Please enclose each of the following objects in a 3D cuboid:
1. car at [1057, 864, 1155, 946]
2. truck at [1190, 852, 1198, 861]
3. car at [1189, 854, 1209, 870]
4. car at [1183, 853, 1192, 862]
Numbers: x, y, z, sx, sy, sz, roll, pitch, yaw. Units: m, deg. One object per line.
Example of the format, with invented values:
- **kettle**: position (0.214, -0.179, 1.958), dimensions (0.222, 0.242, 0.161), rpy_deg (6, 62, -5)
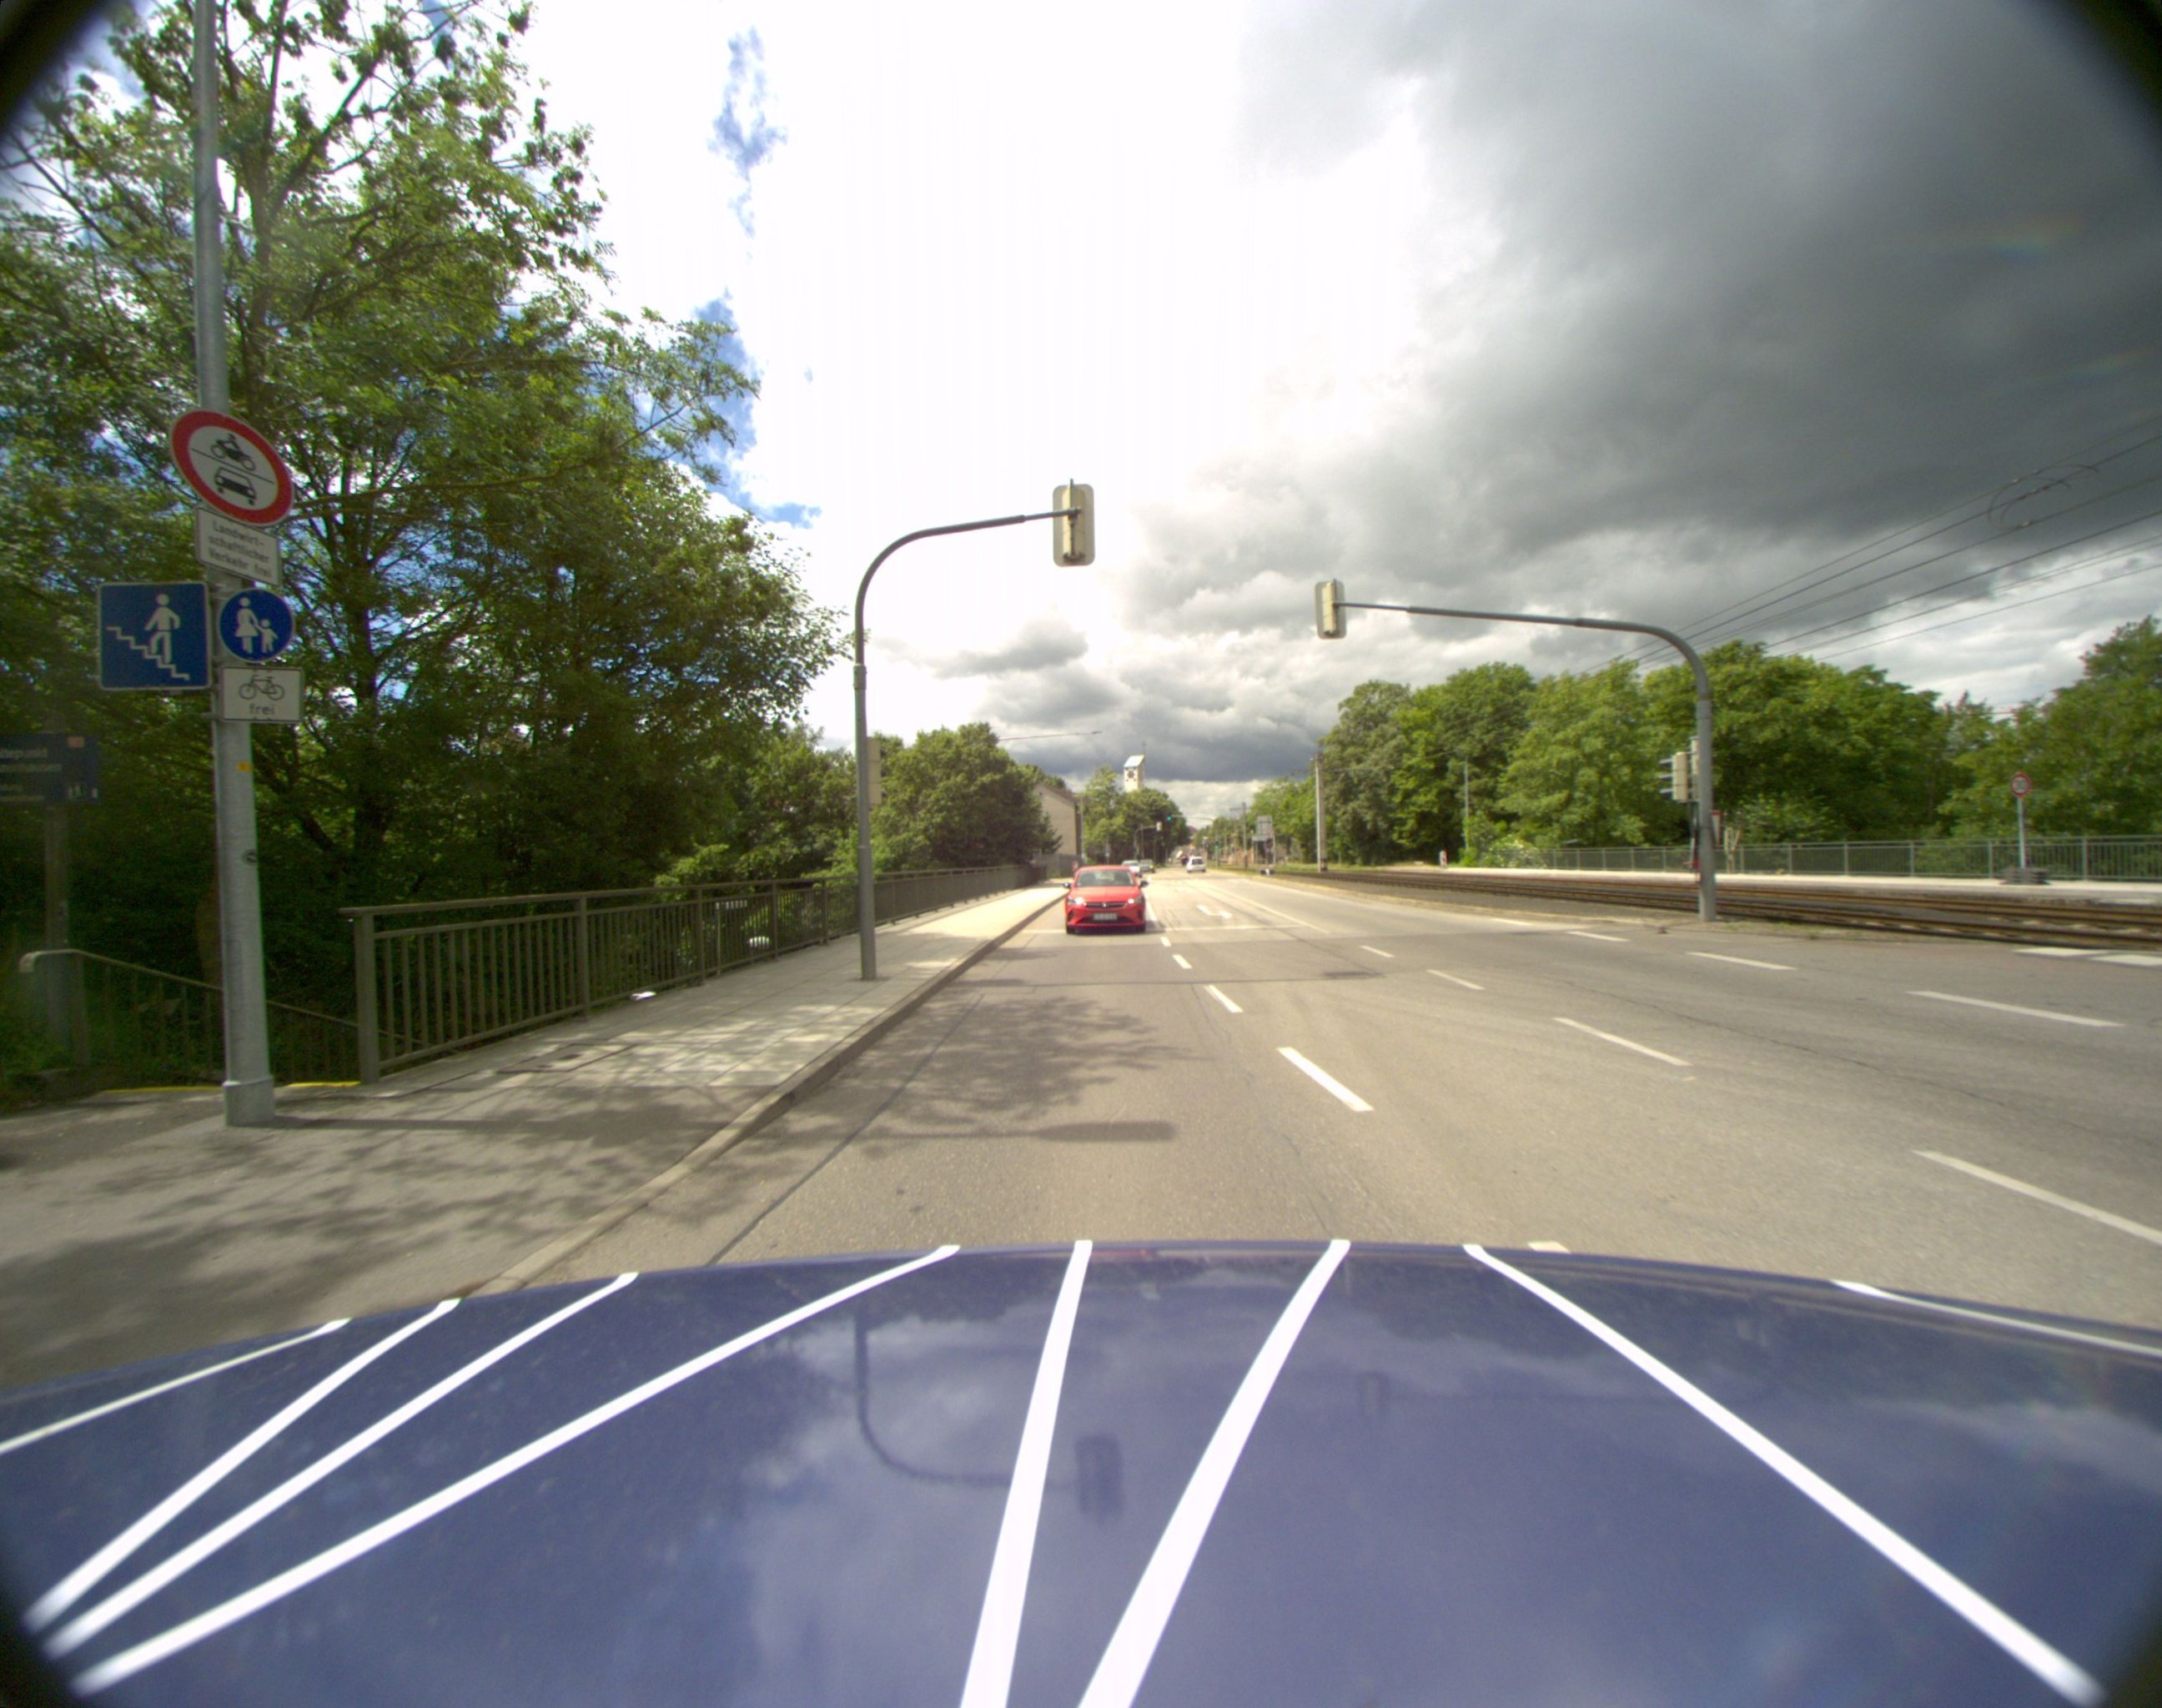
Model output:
- **car**: position (0.650, 0.979, 16.266), dimensions (1.665, 1.512, 3.789), rpy_deg (0, 0, 8)
- **truck**: position (34.841, 0.727, 234.845), dimensions (2.095, 2.723, 5.100), rpy_deg (-4, 0, 6)
- **car**: position (11.725, 0.753, 75.836), dimensions (1.596, 1.518, 3.656), rpy_deg (-2, 0, 4)
- **car**: position (21.865, 0.657, 155.641), dimensions (1.711, 1.666, 4.230), rpy_deg (-4, -1, 7)
